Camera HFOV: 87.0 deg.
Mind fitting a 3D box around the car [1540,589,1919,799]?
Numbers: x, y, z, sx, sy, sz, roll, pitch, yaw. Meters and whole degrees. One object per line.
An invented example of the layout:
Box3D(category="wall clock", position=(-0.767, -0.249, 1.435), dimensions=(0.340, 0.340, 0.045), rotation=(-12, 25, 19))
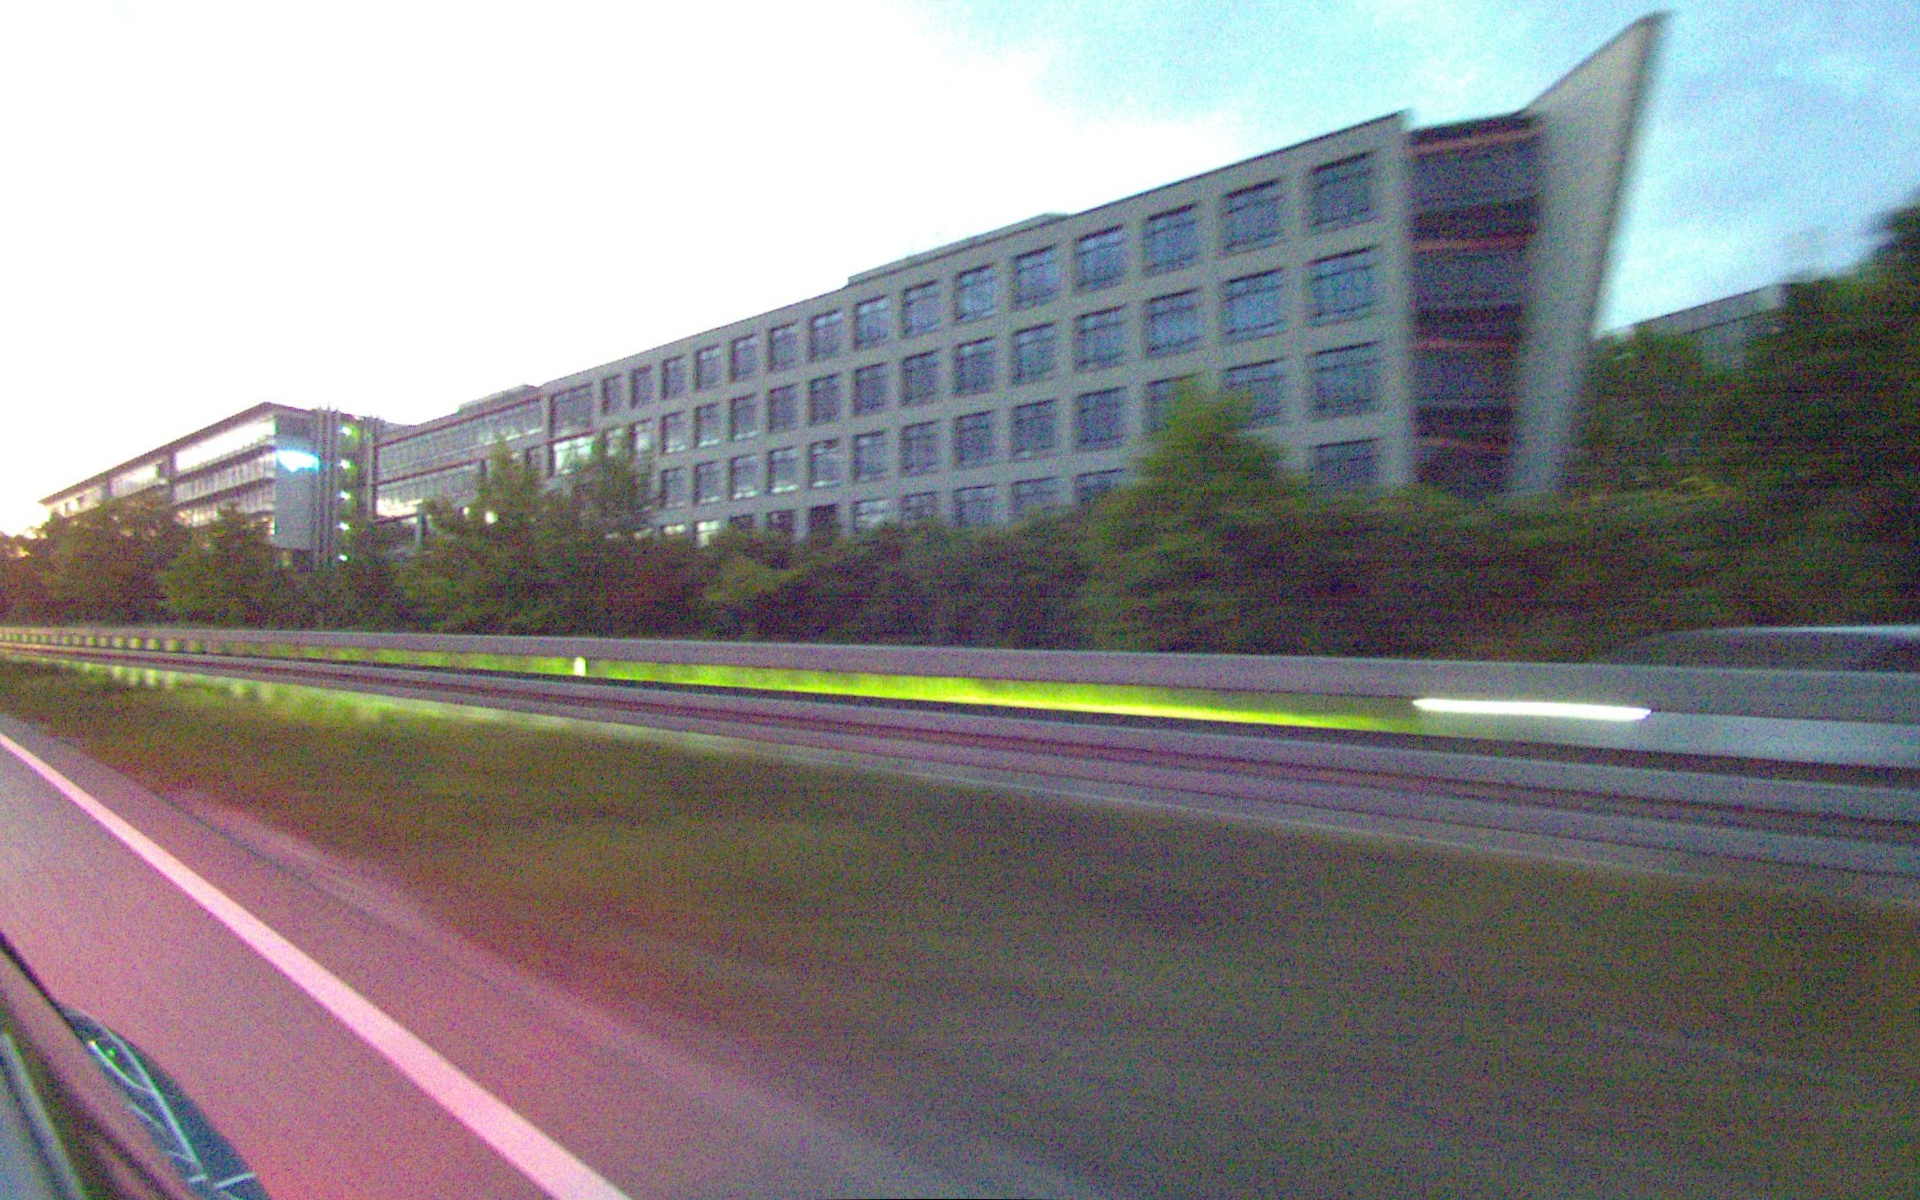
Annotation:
Box3D(category="car", position=(7.877, 0.772, 8.857), dimensions=(4.654, 1.654, 1.753), rotation=(-2, -3, 38))
